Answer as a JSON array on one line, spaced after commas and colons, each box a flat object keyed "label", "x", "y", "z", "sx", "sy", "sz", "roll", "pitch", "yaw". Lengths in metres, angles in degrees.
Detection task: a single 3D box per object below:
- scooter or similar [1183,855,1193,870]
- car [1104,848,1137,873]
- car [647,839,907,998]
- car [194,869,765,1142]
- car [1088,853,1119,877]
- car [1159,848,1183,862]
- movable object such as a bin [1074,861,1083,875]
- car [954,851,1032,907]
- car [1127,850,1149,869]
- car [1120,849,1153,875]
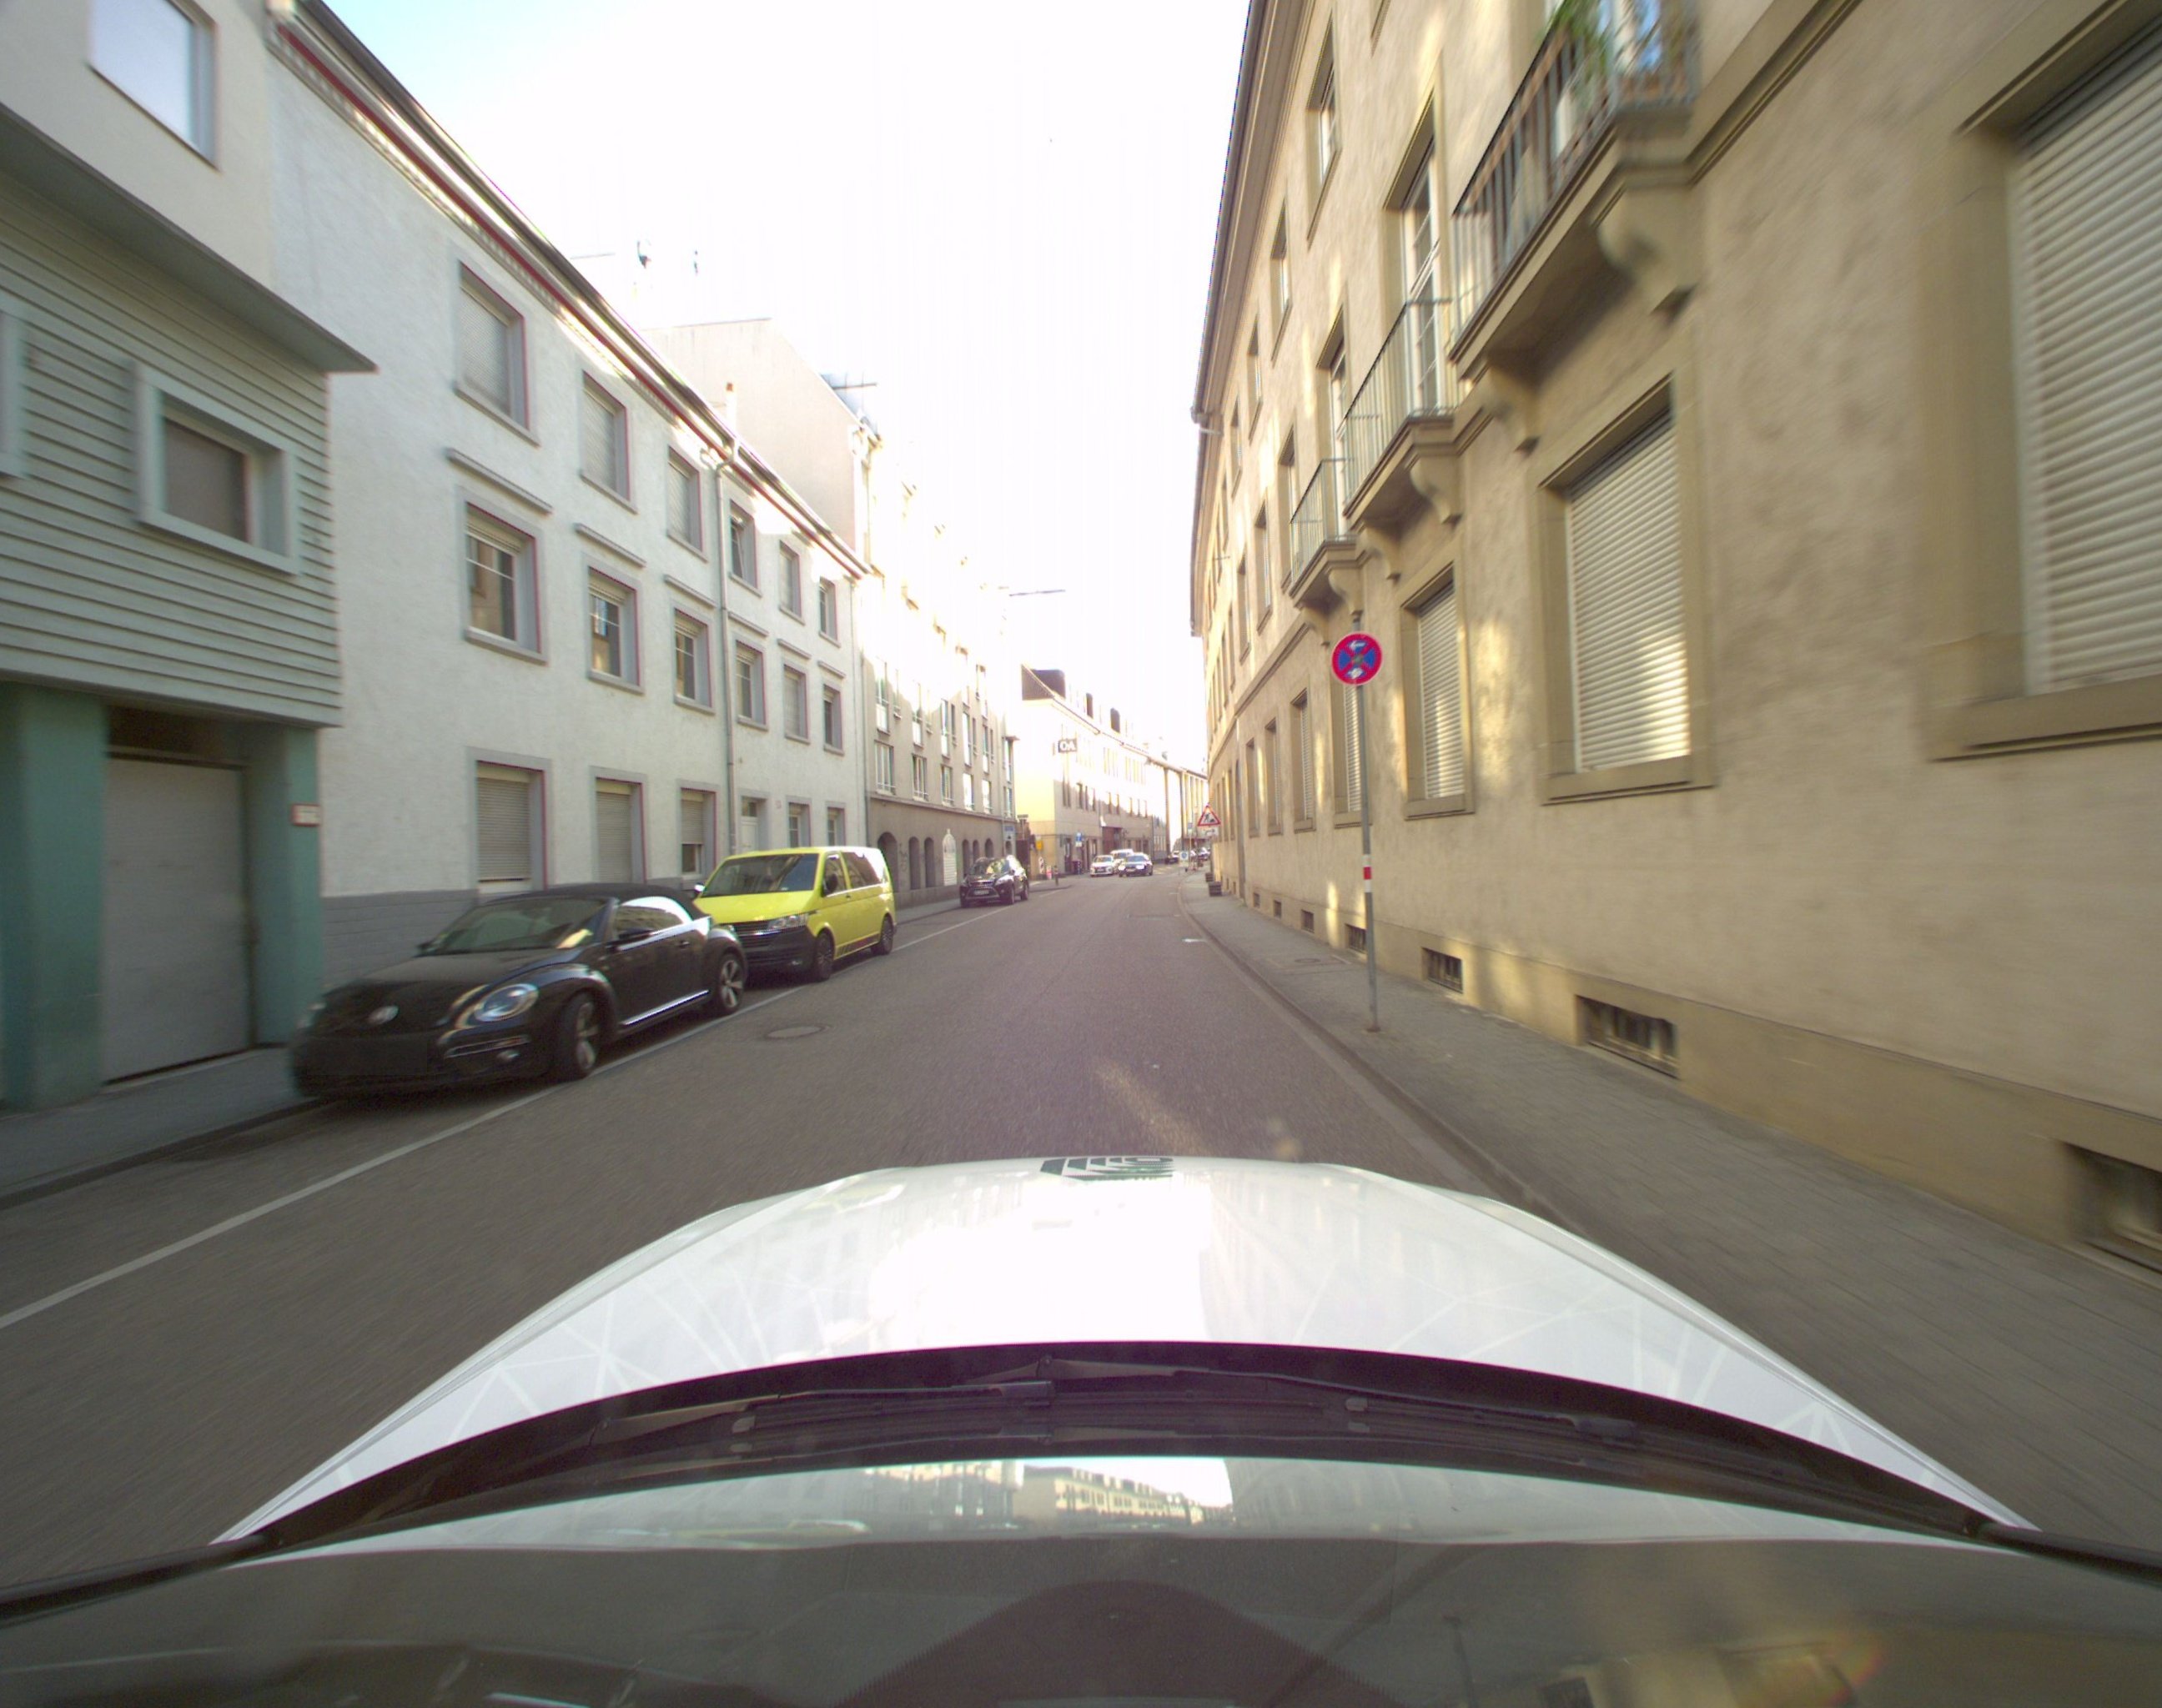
[{"label": "scooter or similar", "x": 7.908, "y": 0.606, "z": 60.151, "sx": 0.766, "sy": 1.136, "sz": 0.270, "roll": 0, "pitch": 0, "yaw": 10}, {"label": "car", "x": 3.195, "y": 0.519, "z": 65.293, "sx": 1.658, "sy": 1.818, "sz": 4.569, "roll": -4, "pitch": 0, "yaw": 14}, {"label": "car", "x": -4.360, "y": 0.812, "z": 12.709, "sx": 1.872, "sy": 1.866, "sz": 4.868, "roll": -5, "pitch": 0, "yaw": 3}, {"label": "car", "x": -4.562, "y": 0.987, "z": 7.141, "sx": 1.813, "sy": 1.486, "sz": 4.077, "roll": -5, "pitch": 0, "yaw": 1}, {"label": "car", "x": 1.689, "y": 0.776, "z": 59.565, "sx": 1.661, "sy": 1.507, "sz": 3.803, "roll": -4, "pitch": 0, "yaw": 9}, {"label": "car", "x": 10.130, "y": 0.094, "z": 91.384, "sx": 1.866, "sy": 1.332, "sz": 4.120, "roll": -3, "pitch": 0, "yaw": 18}, {"label": "movable object such as a bin", "x": -0.164, "y": 1.054, "z": 60.978, "sx": 0.606, "sy": 1.060, "sz": 0.714, "roll": 0, "pitch": 0, "yaw": 5}, {"label": "car", "x": -3.067, "y": 0.846, "z": 29.229, "sx": 1.731, "sy": 1.711, "sz": 4.199, "roll": -5, "pitch": 0, "yaw": 7}, {"label": "car", "x": 5.028, "y": 0.486, "z": 71.303, "sx": 1.262, "sy": 1.507, "sz": 3.415, "roll": -4, "pitch": 0, "yaw": 15}, {"label": "car", "x": 3.573, "y": 0.522, "z": 53.160, "sx": 1.710, "sy": 1.578, "sz": 4.187, "roll": -2, "pitch": 0, "yaw": -2}]
